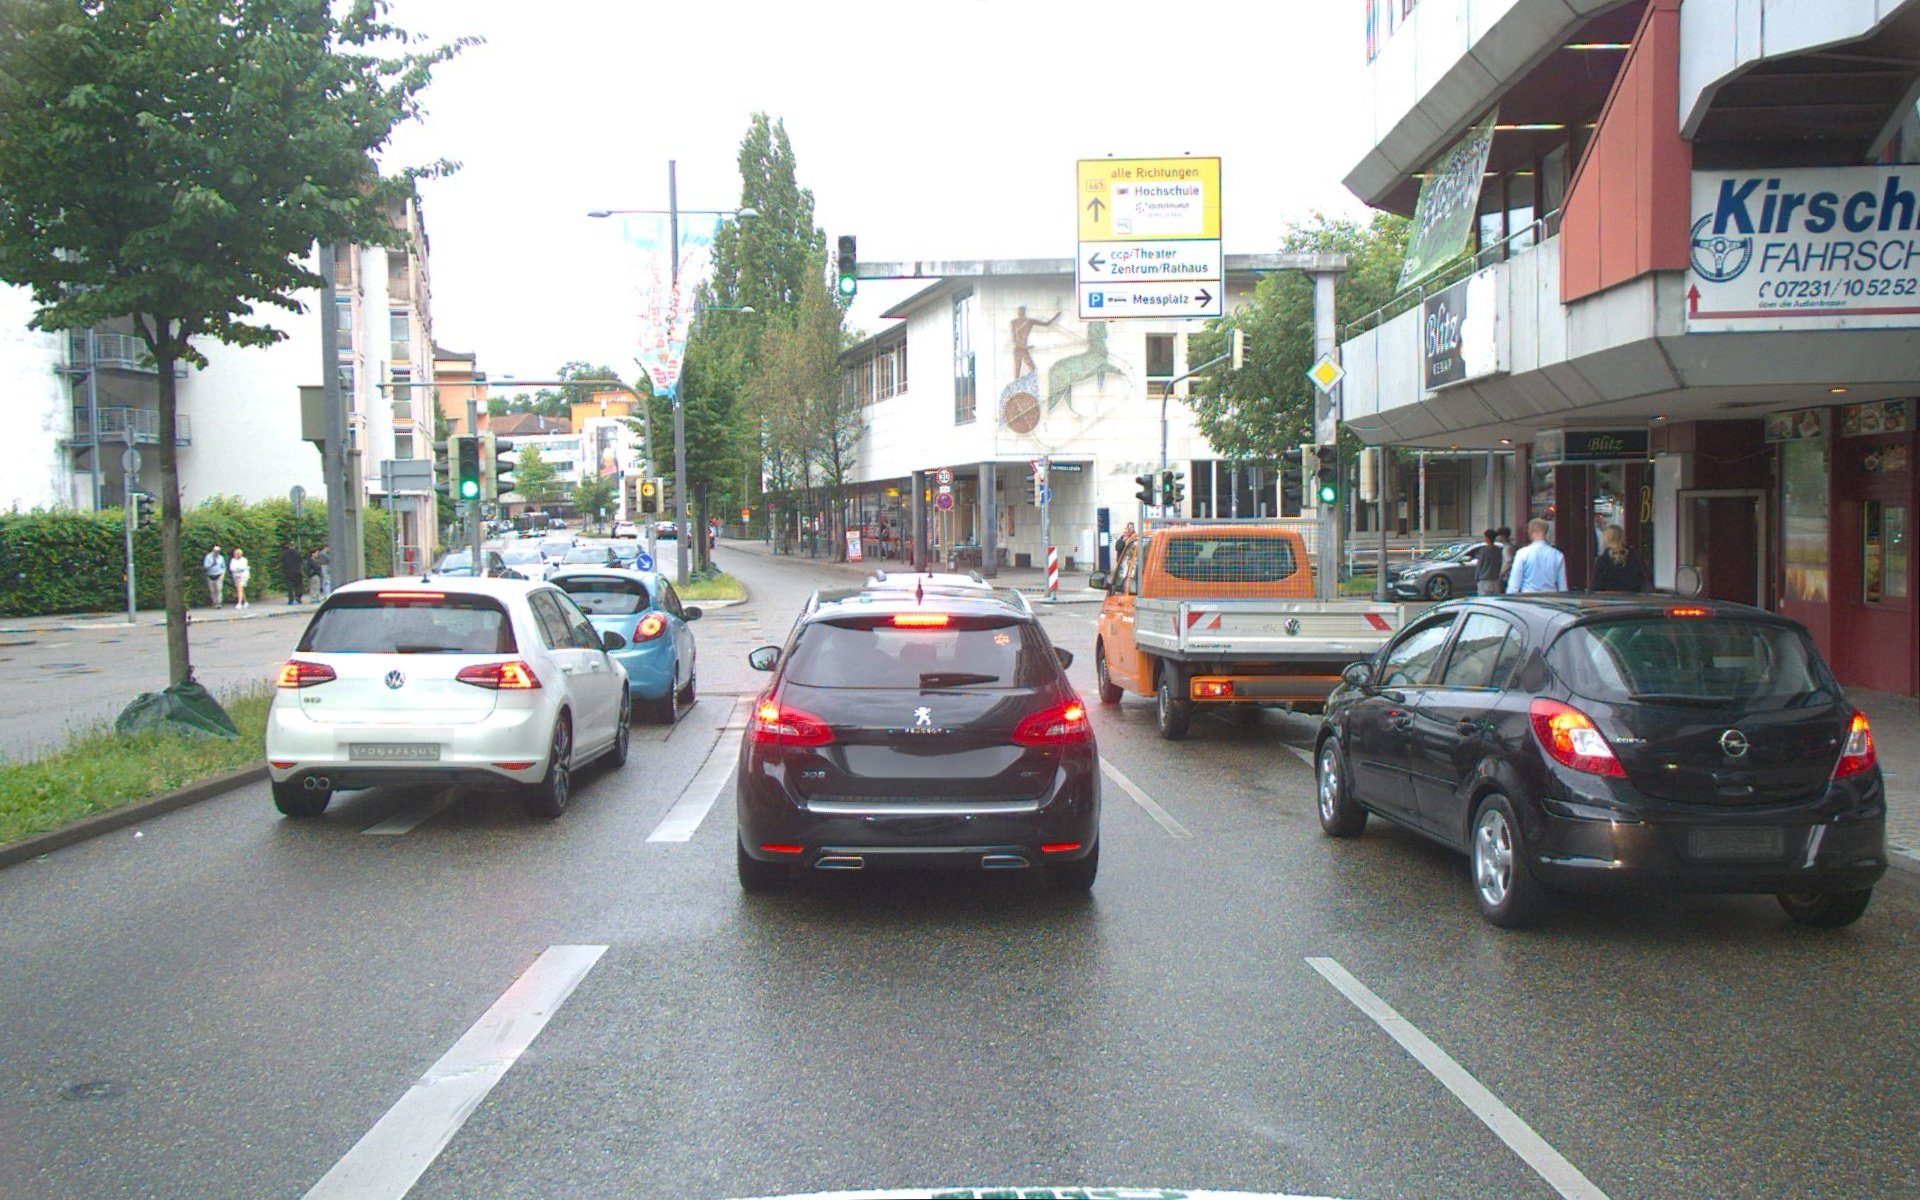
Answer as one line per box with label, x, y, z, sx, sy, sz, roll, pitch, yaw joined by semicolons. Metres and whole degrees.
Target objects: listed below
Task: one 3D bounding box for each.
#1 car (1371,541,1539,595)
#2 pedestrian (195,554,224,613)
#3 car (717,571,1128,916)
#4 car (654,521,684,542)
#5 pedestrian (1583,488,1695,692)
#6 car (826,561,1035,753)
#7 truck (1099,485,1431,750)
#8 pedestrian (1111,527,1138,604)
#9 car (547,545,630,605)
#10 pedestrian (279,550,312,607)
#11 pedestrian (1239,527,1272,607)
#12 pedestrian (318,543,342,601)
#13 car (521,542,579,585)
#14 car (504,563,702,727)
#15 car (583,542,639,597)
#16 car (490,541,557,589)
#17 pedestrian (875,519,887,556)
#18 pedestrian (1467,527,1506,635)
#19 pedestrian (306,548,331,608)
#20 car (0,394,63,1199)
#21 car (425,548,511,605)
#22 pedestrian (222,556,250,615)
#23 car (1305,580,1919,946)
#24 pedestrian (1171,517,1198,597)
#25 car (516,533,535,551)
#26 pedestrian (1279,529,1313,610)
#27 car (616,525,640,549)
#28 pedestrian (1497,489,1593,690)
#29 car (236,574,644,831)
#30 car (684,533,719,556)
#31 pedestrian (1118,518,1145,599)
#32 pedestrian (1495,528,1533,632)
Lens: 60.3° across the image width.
car;12.070;-0.775;40.475;3.610;1.233;1.836;1;-1;3
pedestrian;-20.737;-0.454;45.723;0.569;1.627;0.526;1;-1;-7
car;-0.142;0.581;9.001;1.741;1.454;3.842;1;1;0
car;-24.788;-5.844;140.803;1.700;1.516;4.702;1;-1;-21
pedestrian;6.850;-0.098;16.704;0.721;1.968;0.640;-4;-1;-1
car;-0.269;0.418;15.202;1.662;1.512;3.793;1;2;-1
truck;2.786;0.086;16.446;2.133;2.210;5.018;1;2;-3
pedestrian;3.879;-0.813;38.960;0.623;1.788;0.734;1;-1;6
car;-10.635;-0.686;47.624;1.710;1.607;3.996;1;-1;-4
pedestrian;-19.874;-0.632;49.464;0.624;1.671;0.734;1;-1;2
pedestrian;6.304;-0.696;35.273;0.623;1.688;0.734;1;-1;6
pedestrian;-19.579;-0.859;51.430;0.528;1.778;0.564;1;-1;-6
car;-15.072;-1.343;60.921;1.602;1.512;3.605;1;2;-7
car;-3.636;0.385;17.356;1.601;1.512;3.606;1;2;-6
car;-11.463;-0.966;54.521;1.713;1.669;3.989;1;-1;-11
car;-14.166;-1.156;53.838;1.602;1.512;3.605;1;2;-7
pedestrian;-3.890;-3.077;81.360;0.461;1.778;0.537;1;-1;-21
pedestrian;8.397;-0.298;26.393;0.417;1.712;0.450;-1;-1;-2
pedestrian;-19.302;-0.665;49.796;0.529;1.778;0.746;1;-1;-9
car;-3.029;0.446;1.401;1.873;1.903;5.071;1;-1;-2
car;-13.781;-0.677;46.460;1.543;1.512;3.607;1;2;-4
pedestrian;-20.235;-0.391;46.228;0.569;1.627;0.526;1;-1;-7
car;3.113;0.647;8.664;1.584;1.454;3.839;1;1;-4
pedestrian;5.489;-1.048;40.450;0.623;1.930;0.734;1;-1;6
car;-55.493;-7.377;211.136;1.964;2.049;3.976;1;-1;-20
pedestrian;7.162;-0.639;35.288;0.623;1.688;0.734;1;-1;6
car;-29.236;-5.537;145.629;1.679;1.915;3.980;1;-1;-18
pedestrian;5.871;-0.100;16.623;0.721;1.968;0.640;1;-1;-1
car;-3.341;0.561;11.390;1.742;1.454;3.840;1;1;-3
car;-17.904;-3.860;114.435;1.759;1.479;4.486;-3;3;-17
pedestrian;4.195;-1.004;40.440;0.623;1.930;0.734;1;-1;6
pedestrian;8.944;-0.318;26.719;0.388;1.668;0.504;-1;-1;0
